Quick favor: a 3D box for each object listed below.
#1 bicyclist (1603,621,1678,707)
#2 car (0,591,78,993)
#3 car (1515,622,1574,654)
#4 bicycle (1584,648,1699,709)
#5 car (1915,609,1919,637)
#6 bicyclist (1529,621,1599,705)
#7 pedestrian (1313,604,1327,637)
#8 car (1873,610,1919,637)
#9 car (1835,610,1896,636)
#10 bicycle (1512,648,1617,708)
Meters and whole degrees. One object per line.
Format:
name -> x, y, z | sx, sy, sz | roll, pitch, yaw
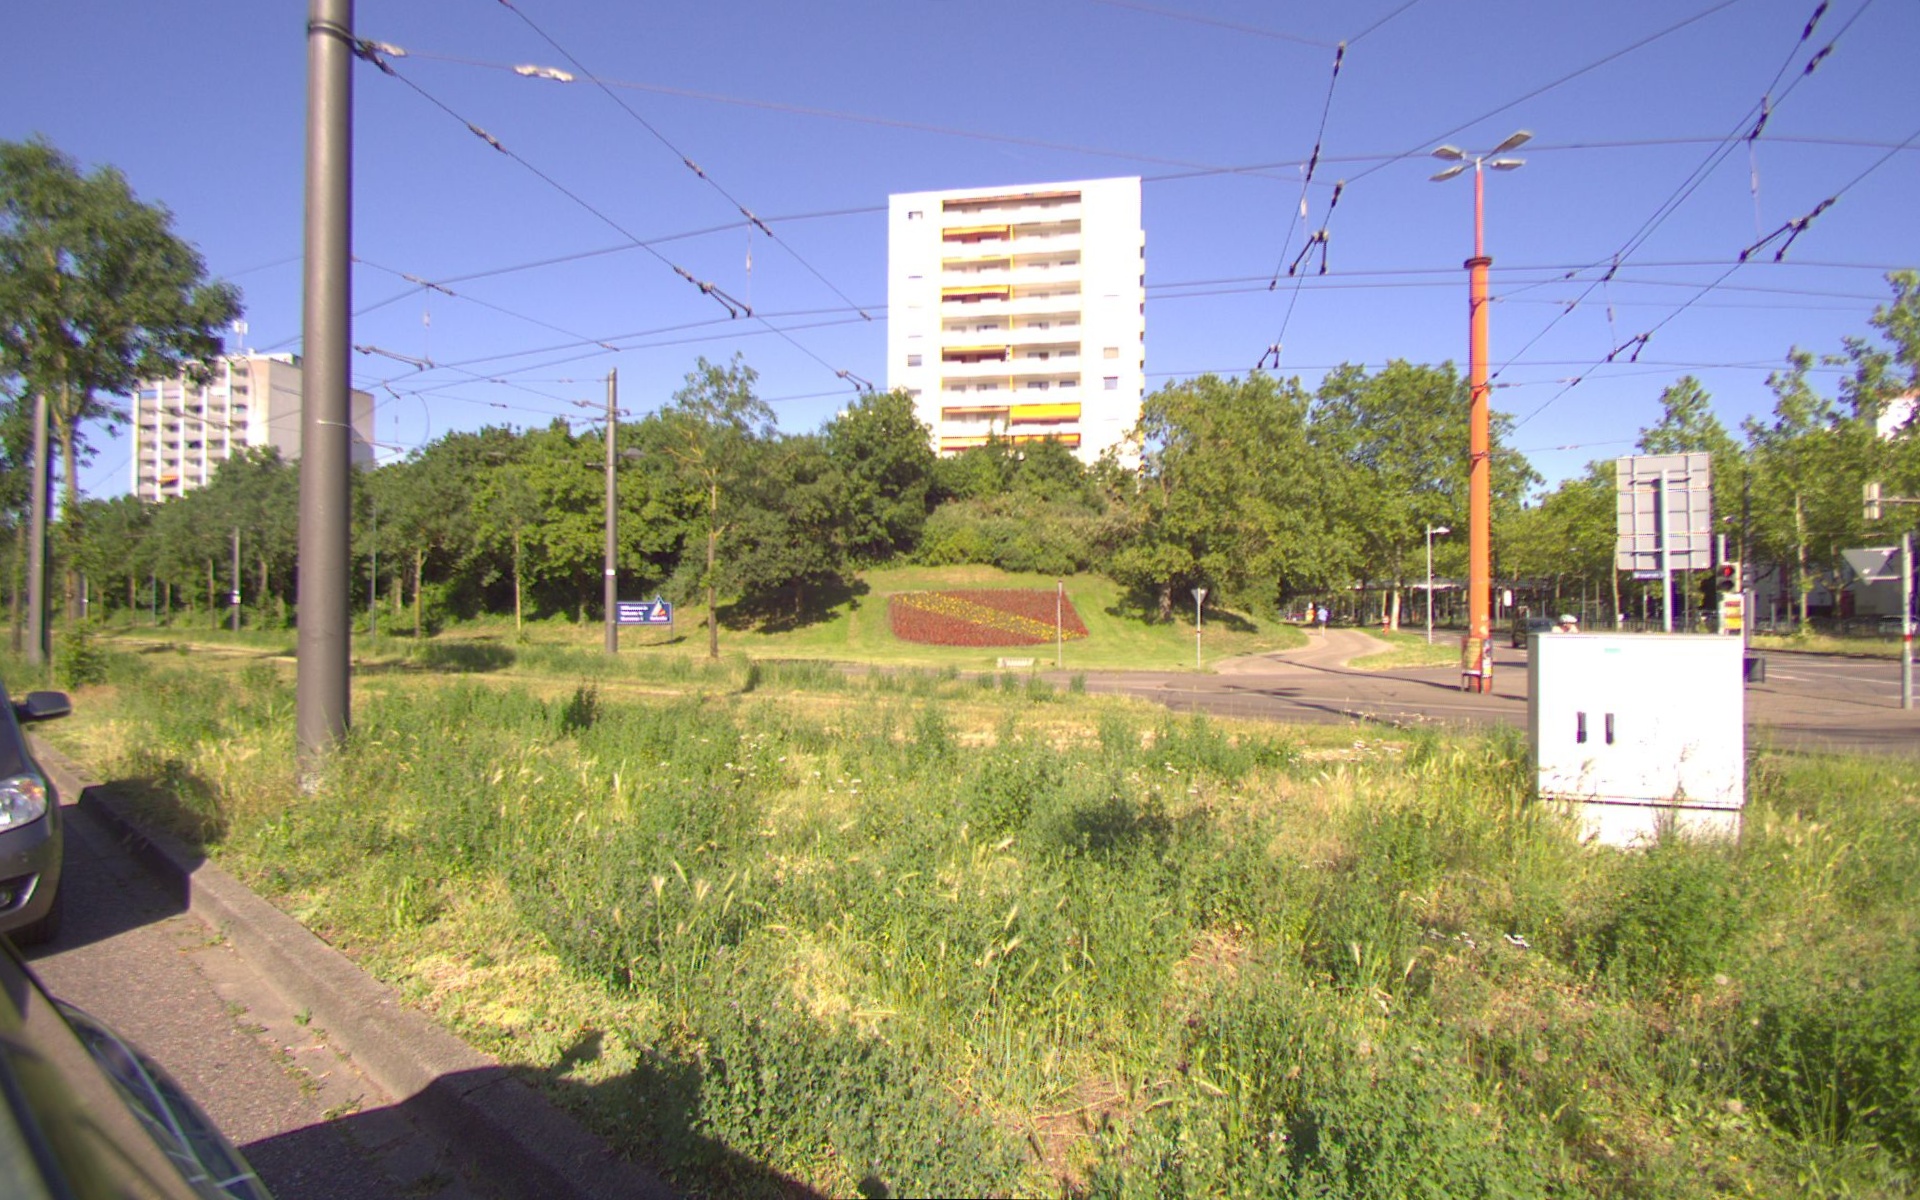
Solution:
bicyclist -> 13.351, 1.239, 19.882 | 0.920, 1.650, 0.741 | 0, -1, -1
car -> -5.942, 0.798, 5.041 | 4.382, 1.619, 1.754 | -1, -2, 41
car -> 30.360, 1.958, 52.687 | 1.928, 1.606, 3.882 | -1, -1, 20
bicycle -> 13.354, 1.519, 19.915 | 0.915, 1.095, 1.888 | 0, -1, -2
car -> 64.401, 1.501, 65.905 | 3.931, 1.829, 2.006 | 0, -2, -27
bicyclist -> 12.093, 1.257, 20.300 | 0.920, 1.650, 0.741 | 0, -1, -1
pedestrian -> 21.506, 1.227, 60.418 | 0.729, 1.949, 0.726 | -1, -2, 24
car -> 65.243, 1.639, 69.868 | 3.931, 1.829, 2.006 | 0, -2, -27
car -> 66.010, 1.695, 73.764 | 3.931, 1.829, 2.006 | 0, -2, -27
bicycle -> 12.089, 1.534, 20.317 | 0.915, 1.095, 1.888 | 0, -1, -2
